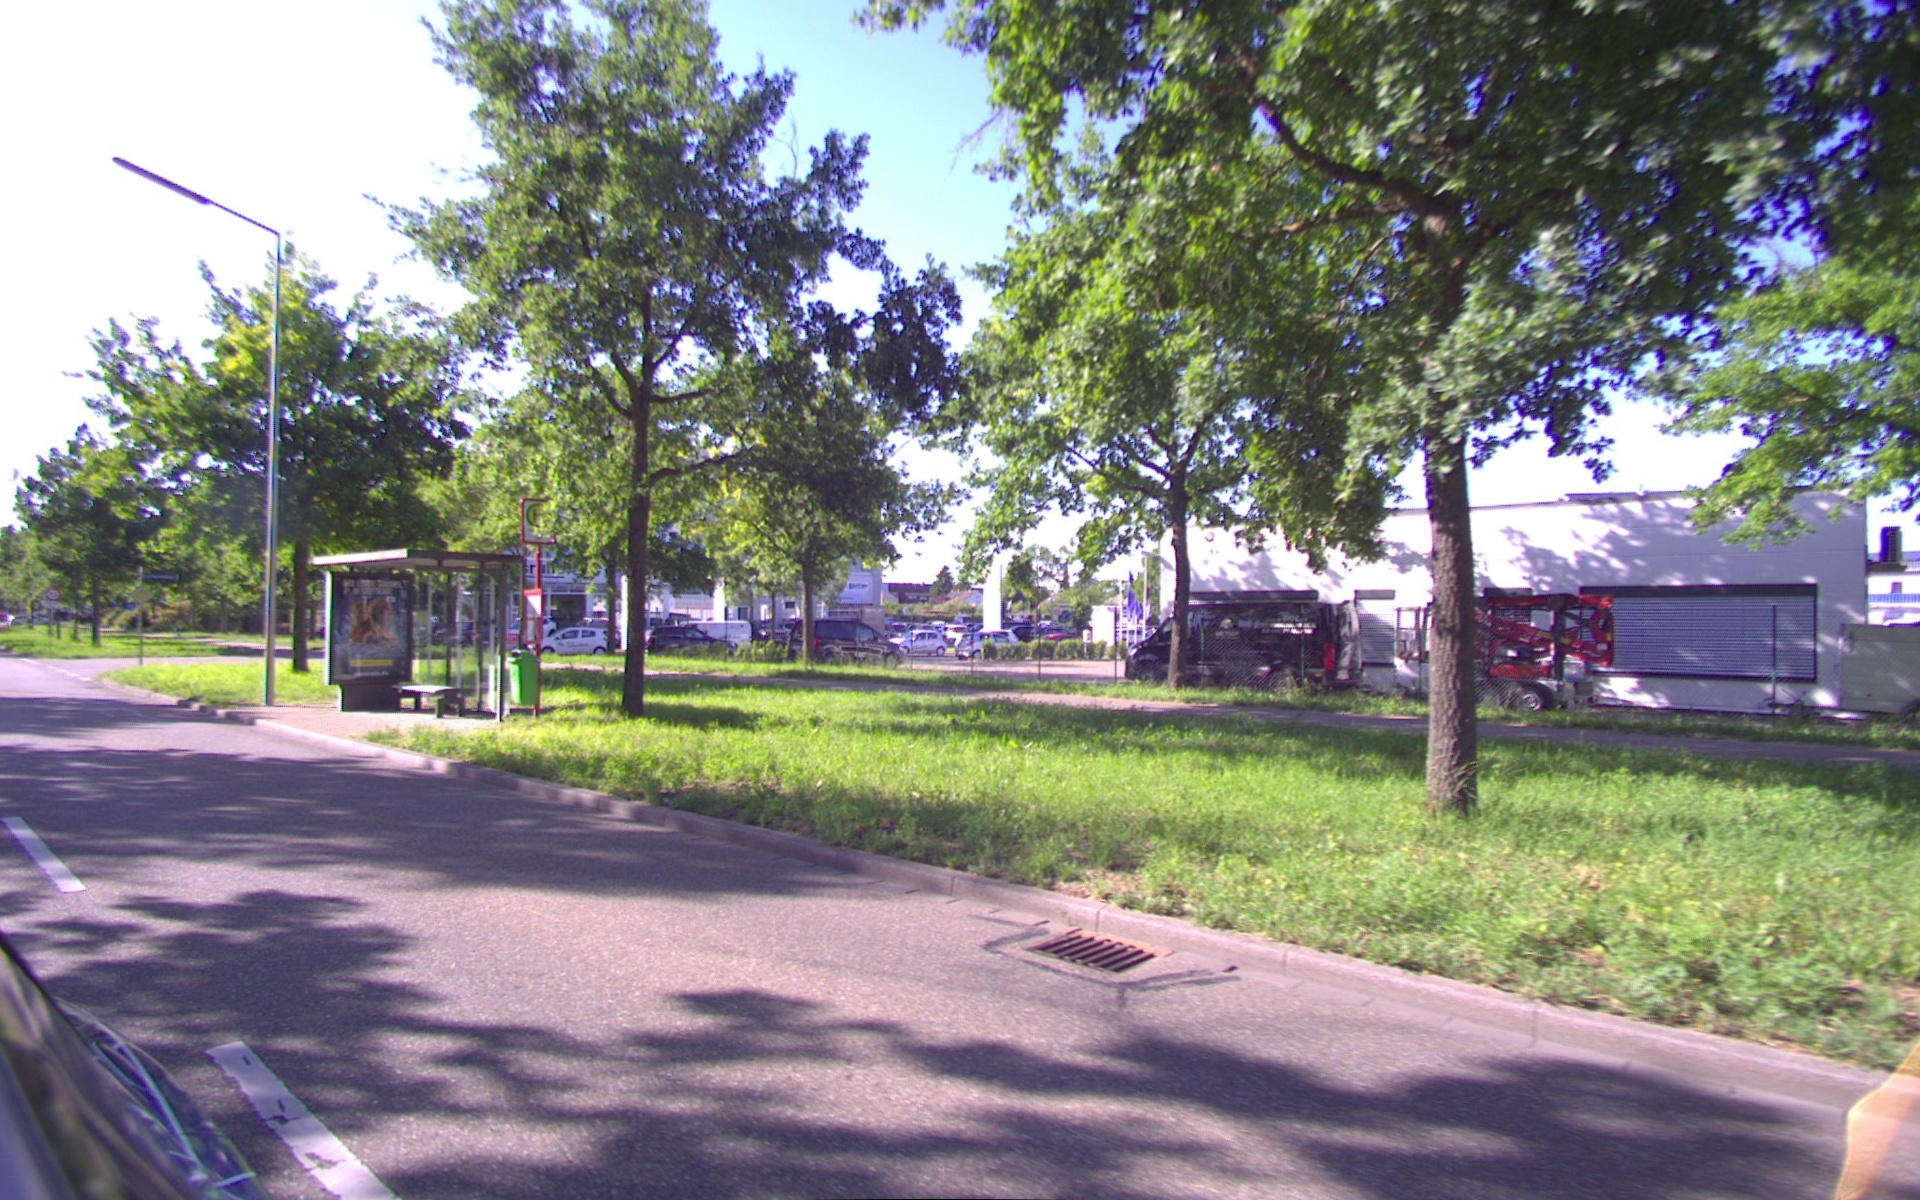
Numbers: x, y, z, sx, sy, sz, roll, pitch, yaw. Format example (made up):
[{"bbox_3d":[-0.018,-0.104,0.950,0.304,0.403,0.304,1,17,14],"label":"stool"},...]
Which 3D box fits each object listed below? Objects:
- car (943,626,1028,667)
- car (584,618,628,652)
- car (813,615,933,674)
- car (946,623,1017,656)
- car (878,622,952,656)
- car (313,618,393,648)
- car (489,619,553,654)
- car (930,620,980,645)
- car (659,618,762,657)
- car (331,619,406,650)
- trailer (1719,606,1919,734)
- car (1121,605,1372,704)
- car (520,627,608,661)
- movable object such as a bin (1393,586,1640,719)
[{"bbox_3d":[1.327,2.346,51.875,3.933,1.851,2.005,-1,0,-34],"label":"car"},{"bbox_3d":[-21.362,2.088,61.165,1.967,1.851,4.009,-1,0,-11],"label":"car"},{"bbox_3d":[-3.171,1.578,36.706,3.931,2.029,2.006,0,-1,-20],"label":"car"},{"bbox_3d":[1.330,2.418,62.904,3.932,1.851,2.006,-1,0,-32],"label":"car"},{"bbox_3d":[-2.684,2.303,60.397,3.932,1.851,2.006,-1,0,-32],"label":"car"},{"bbox_3d":[-37.634,2.036,62.832,1.983,1.852,3.977,0,-2,17],"label":"car"},{"bbox_3d":[-25.614,2.115,59.234,1.972,1.851,3.999,-1,0,0],"label":"car"},{"bbox_3d":[-0.390,2.357,74.488,1.966,1.694,4.013,-1,0,-29],"label":"car"},{"bbox_3d":[-13.262,1.951,53.812,4.963,1.851,2.007,-1,0,-26],"label":"car"},{"bbox_3d":[-38.834,2.261,66.526,1.983,1.851,3.978,-1,0,17],"label":"car"},{"bbox_3d":[15.413,1.142,17.106,3.964,2.029,1.735,-1,-2,43],"label":"trailer"},{"bbox_3d":[6.896,1.254,24.861,5.668,2.191,1.973,-1,-2,41],"label":"car"},{"bbox_3d":[-19.528,2.145,49.944,3.827,1.513,2.006,-1,0,-29],"label":"car"},{"bbox_3d":[11.686,1.007,21.407,4.235,2.535,1.972,-1,0,42],"label":"movable object such as a bin"}]
